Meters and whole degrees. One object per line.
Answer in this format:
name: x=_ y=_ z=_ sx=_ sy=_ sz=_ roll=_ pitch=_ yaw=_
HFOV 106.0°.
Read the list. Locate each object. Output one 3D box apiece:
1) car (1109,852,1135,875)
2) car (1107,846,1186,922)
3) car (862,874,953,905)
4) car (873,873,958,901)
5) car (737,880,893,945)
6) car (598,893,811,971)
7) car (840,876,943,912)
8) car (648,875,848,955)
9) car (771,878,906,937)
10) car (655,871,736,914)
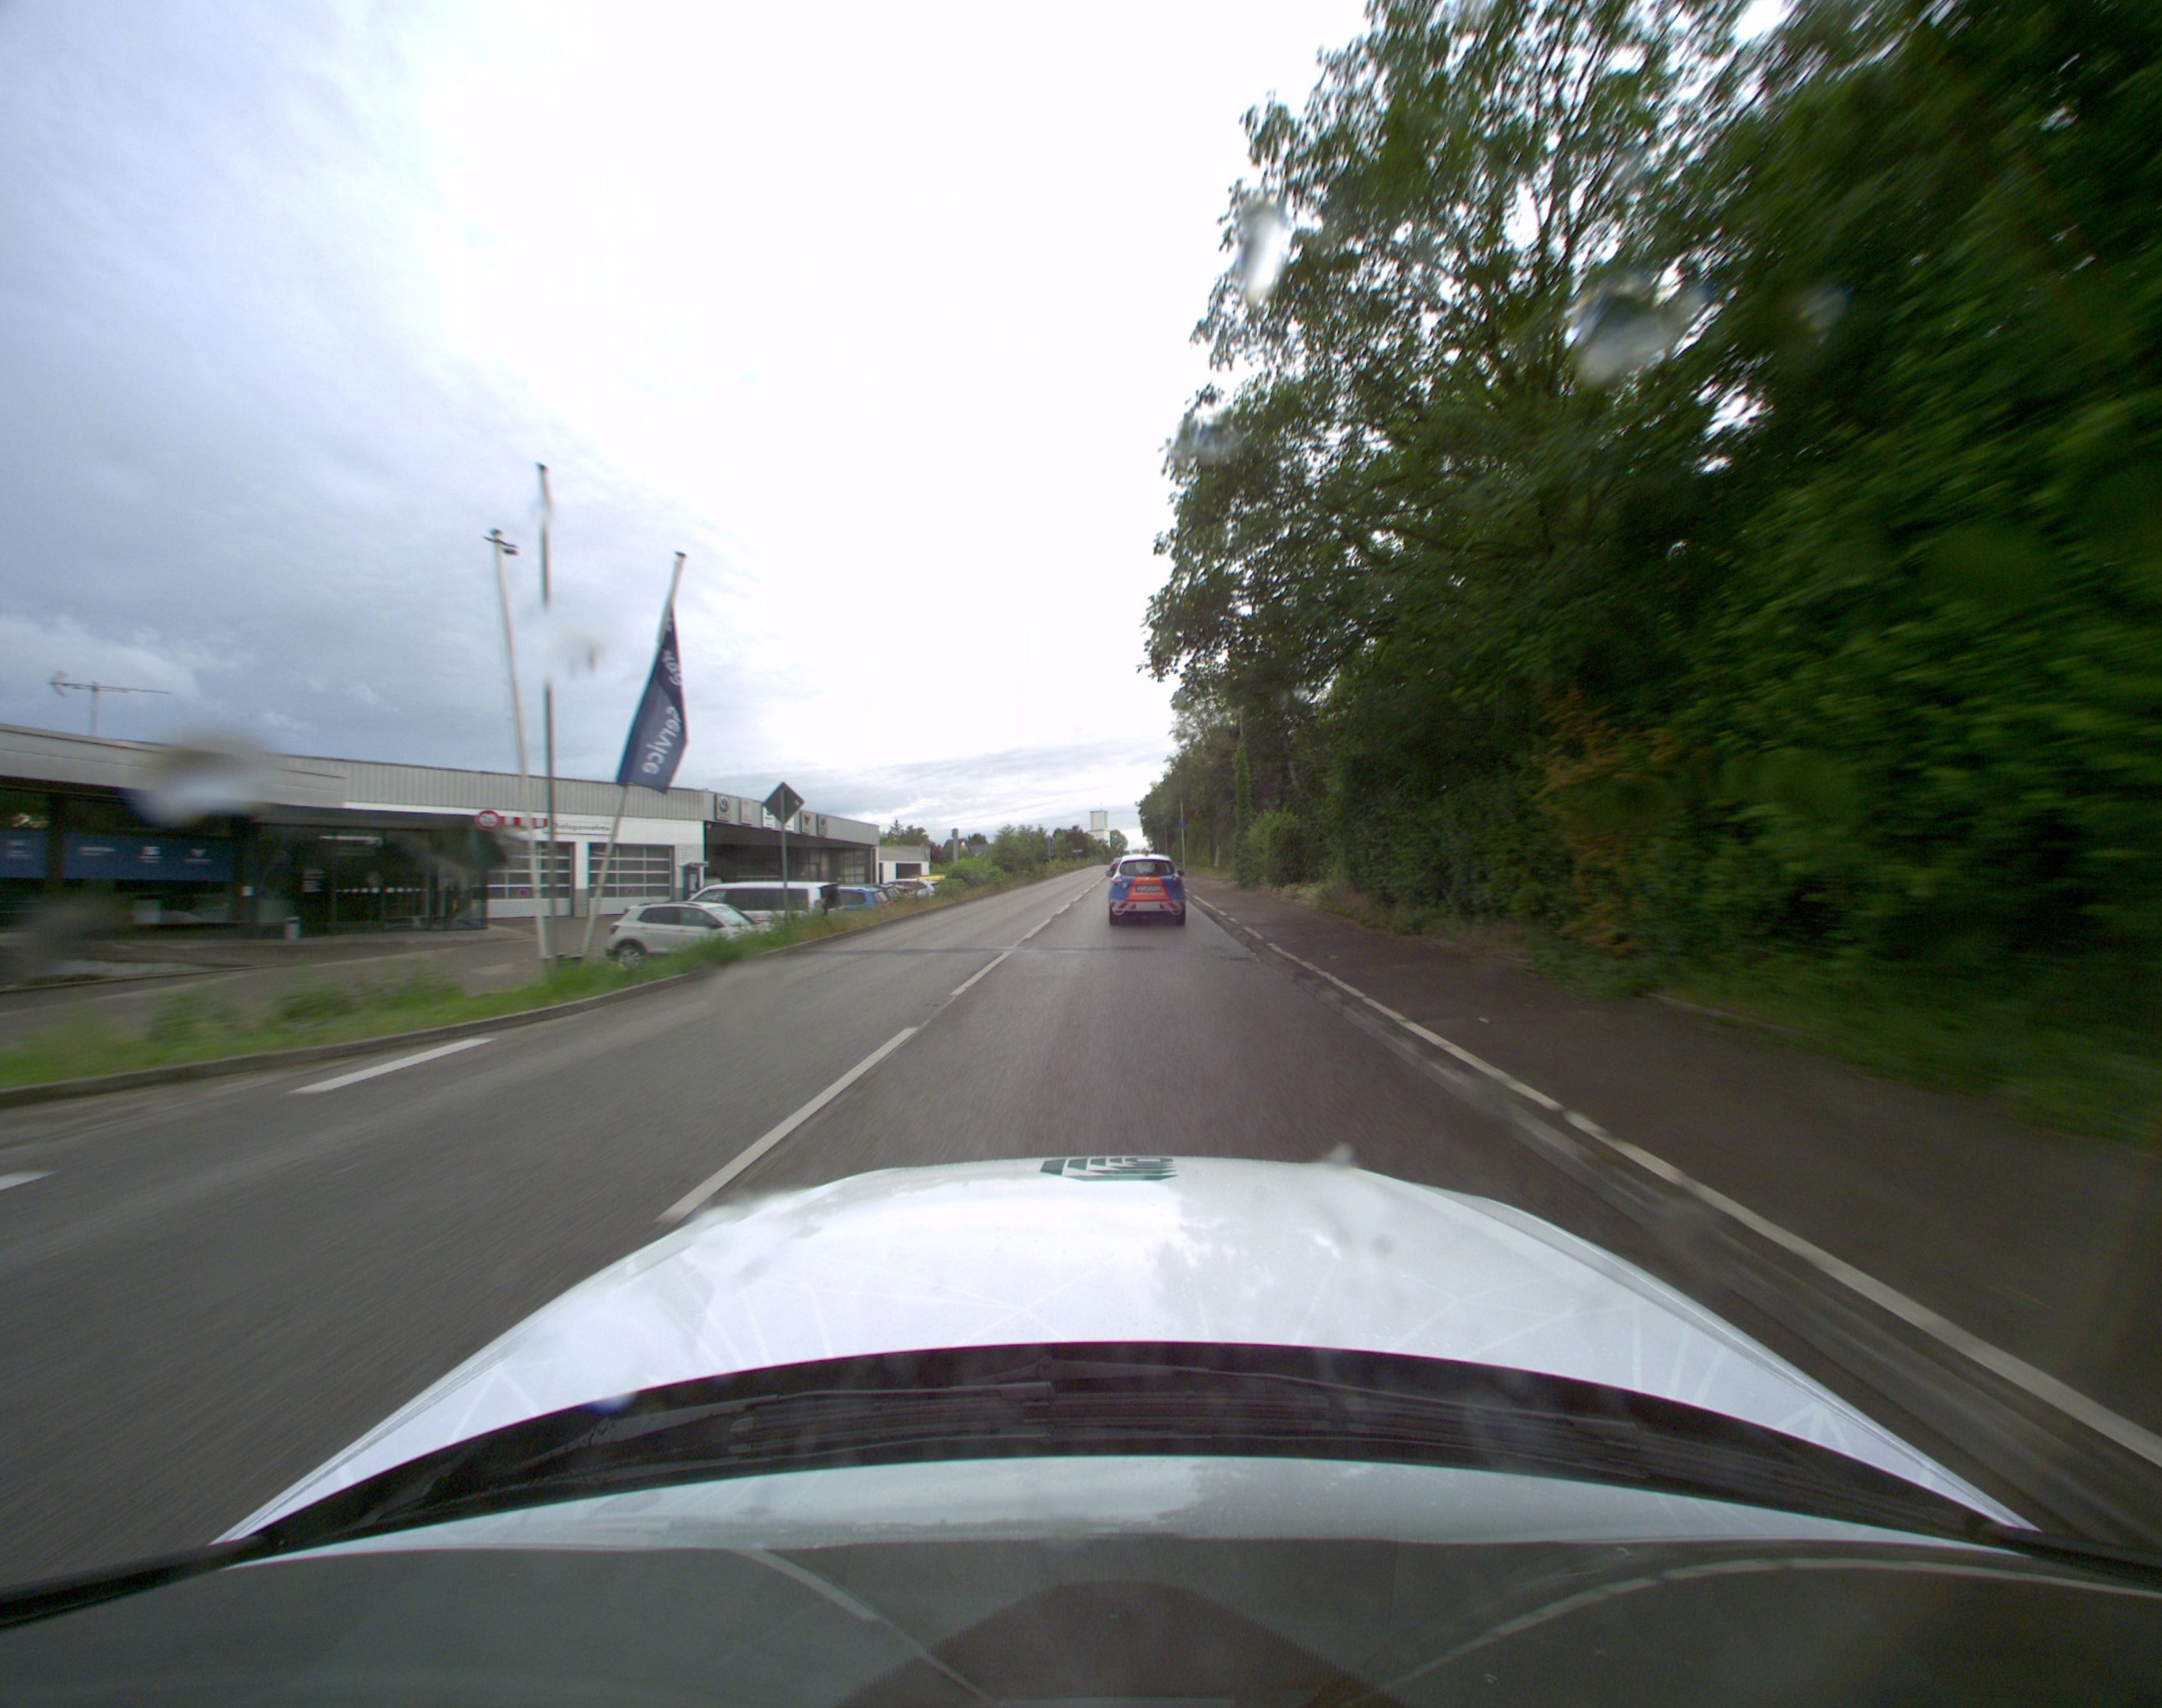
car: x=3.021 y=0.717 z=59.717 sx=1.795 sy=1.590 sz=3.565 roll=-3 pitch=-1 yaw=3
car: x=1.518 y=0.697 z=19.246 sx=1.650 sy=1.593 sz=3.571 roll=-1 pitch=-2 yaw=3
car: x=-8.477 y=1.715 z=40.075 sx=4.050 sy=1.291 sz=1.804 roll=-2 pitch=0 yaw=-1
car: x=-8.651 y=1.732 z=42.784 sx=4.050 sy=1.211 sz=1.804 roll=-2 pitch=0 yaw=-1
car: x=-8.666 y=1.896 z=26.862 sx=4.399 sy=1.798 sz=2.002 roll=-2 pitch=0 yaw=-1
car: x=-8.596 y=1.767 z=18.842 sx=3.994 sy=1.478 sz=1.824 roll=-2 pitch=0 yaw=1
car: x=-8.624 y=1.802 z=37.345 sx=4.213 sy=1.368 sz=1.874 roll=-2 pitch=0 yaw=-1
car: x=-8.685 y=1.571 z=21.510 sx=4.396 sy=1.798 sz=1.935 roll=-2 pitch=0 yaw=1
car: x=-8.665 y=1.897 z=29.381 sx=4.213 sy=1.798 sz=1.874 roll=-2 pitch=0 yaw=-1
car: x=-20.141 y=2.026 z=42.481 sx=4.427 sy=1.960 sz=2.001 roll=-6 pitch=-3 yaw=38
